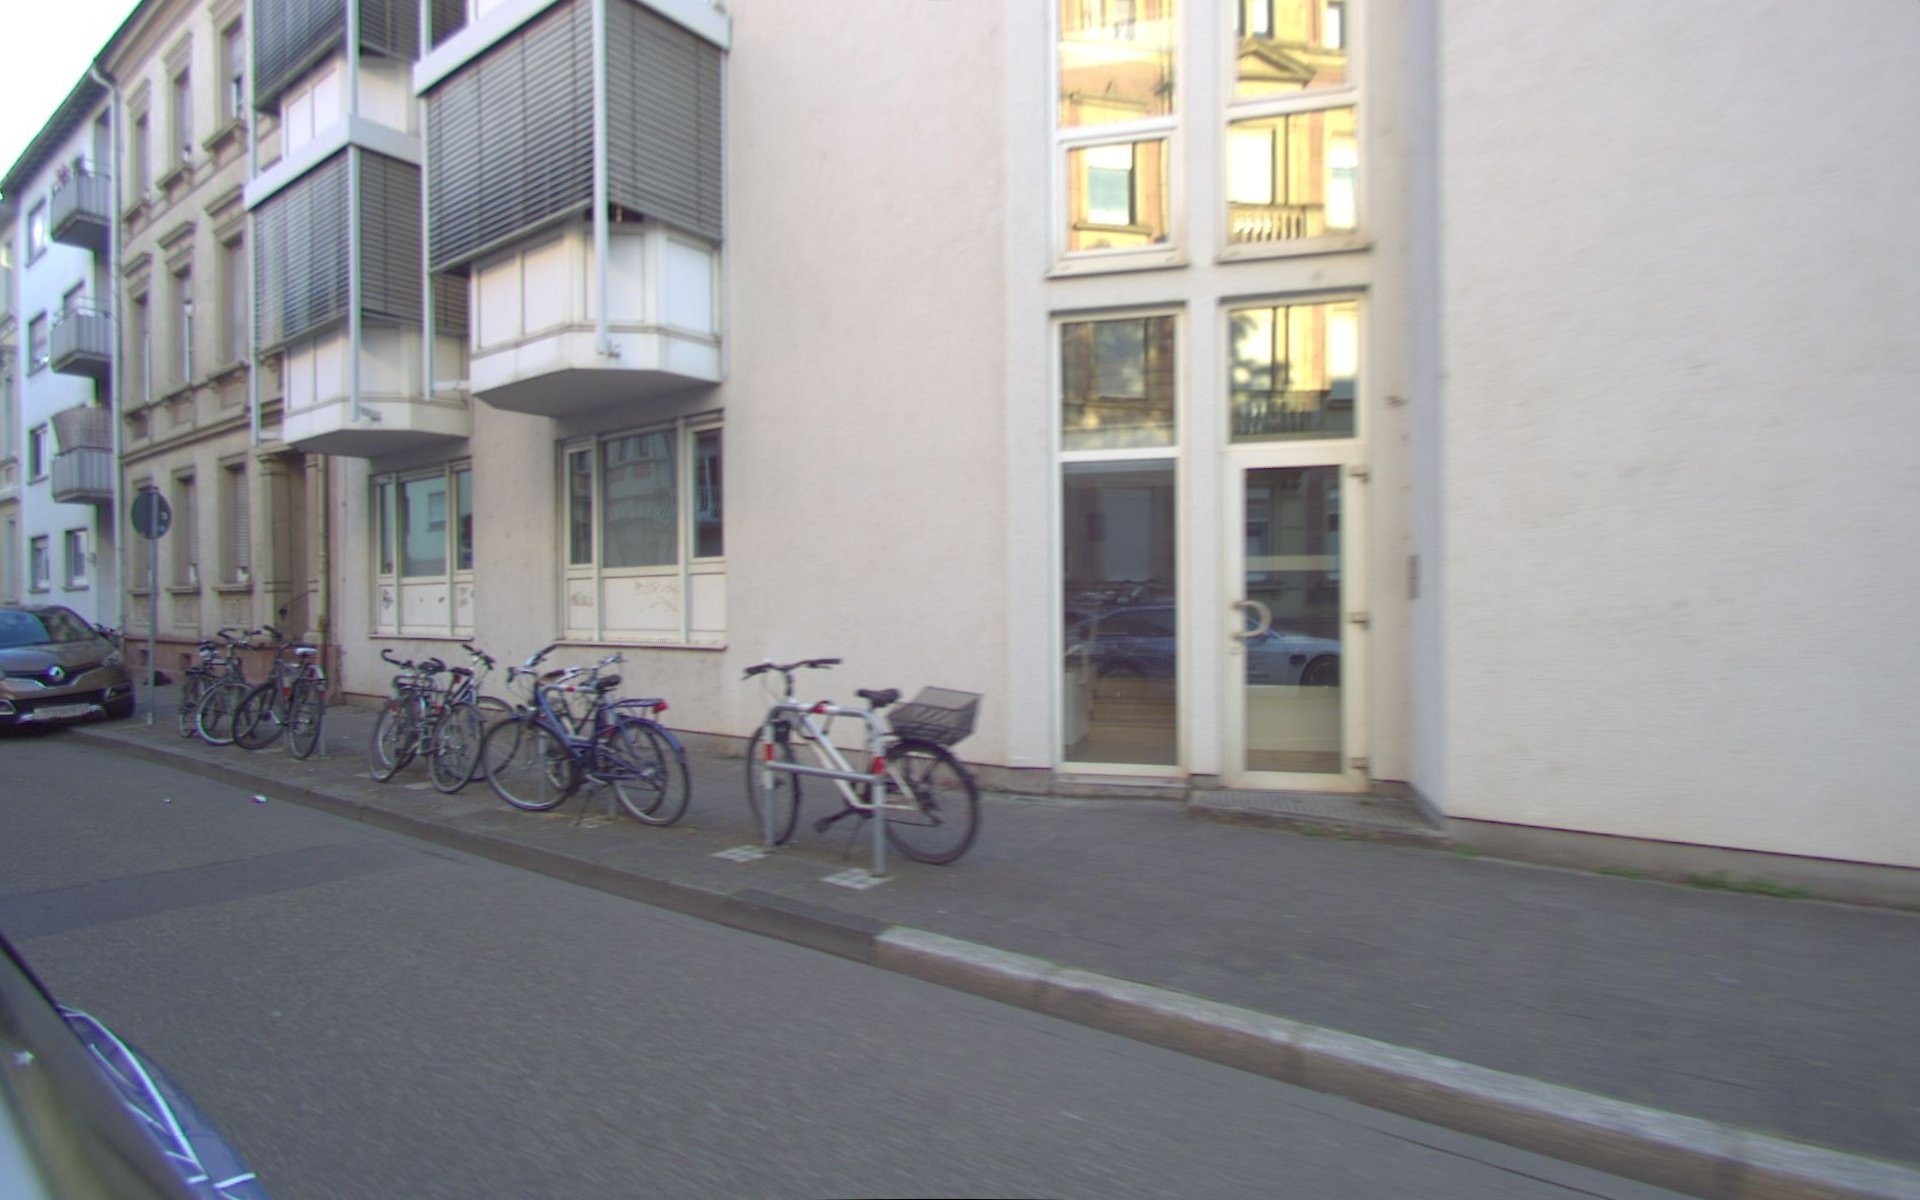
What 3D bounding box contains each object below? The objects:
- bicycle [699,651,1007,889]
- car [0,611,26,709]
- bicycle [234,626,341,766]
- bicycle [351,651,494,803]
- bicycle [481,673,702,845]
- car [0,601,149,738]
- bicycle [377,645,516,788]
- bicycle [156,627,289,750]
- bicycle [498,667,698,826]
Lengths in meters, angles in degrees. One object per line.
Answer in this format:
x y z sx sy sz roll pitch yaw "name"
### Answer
-0.634 0.858 5.566 1.807 1.110 0.397 -1 0 32 "bicycle"
-17.383 0.980 16.905 4.425 1.551 1.775 -1 0 36 "car"
-6.510 0.880 9.760 1.811 1.232 0.304 -1 0 39 "bicycle"
-4.302 0.956 8.041 1.811 1.050 0.304 -1 0 39 "bicycle"
-2.417 0.975 6.530 1.807 0.939 0.304 -1 0 33 "bicycle"
-12.595 0.837 13.483 4.062 1.588 1.775 -1 0 36 "car"
-4.337 0.930 8.492 1.811 1.050 0.304 -1 0 39 "bicycle"
-8.109 0.914 11.082 2.262 1.196 0.590 -1 0 39 "bicycle"
-2.552 0.967 7.029 1.808 0.939 0.304 -1 -1 35 "bicycle"
